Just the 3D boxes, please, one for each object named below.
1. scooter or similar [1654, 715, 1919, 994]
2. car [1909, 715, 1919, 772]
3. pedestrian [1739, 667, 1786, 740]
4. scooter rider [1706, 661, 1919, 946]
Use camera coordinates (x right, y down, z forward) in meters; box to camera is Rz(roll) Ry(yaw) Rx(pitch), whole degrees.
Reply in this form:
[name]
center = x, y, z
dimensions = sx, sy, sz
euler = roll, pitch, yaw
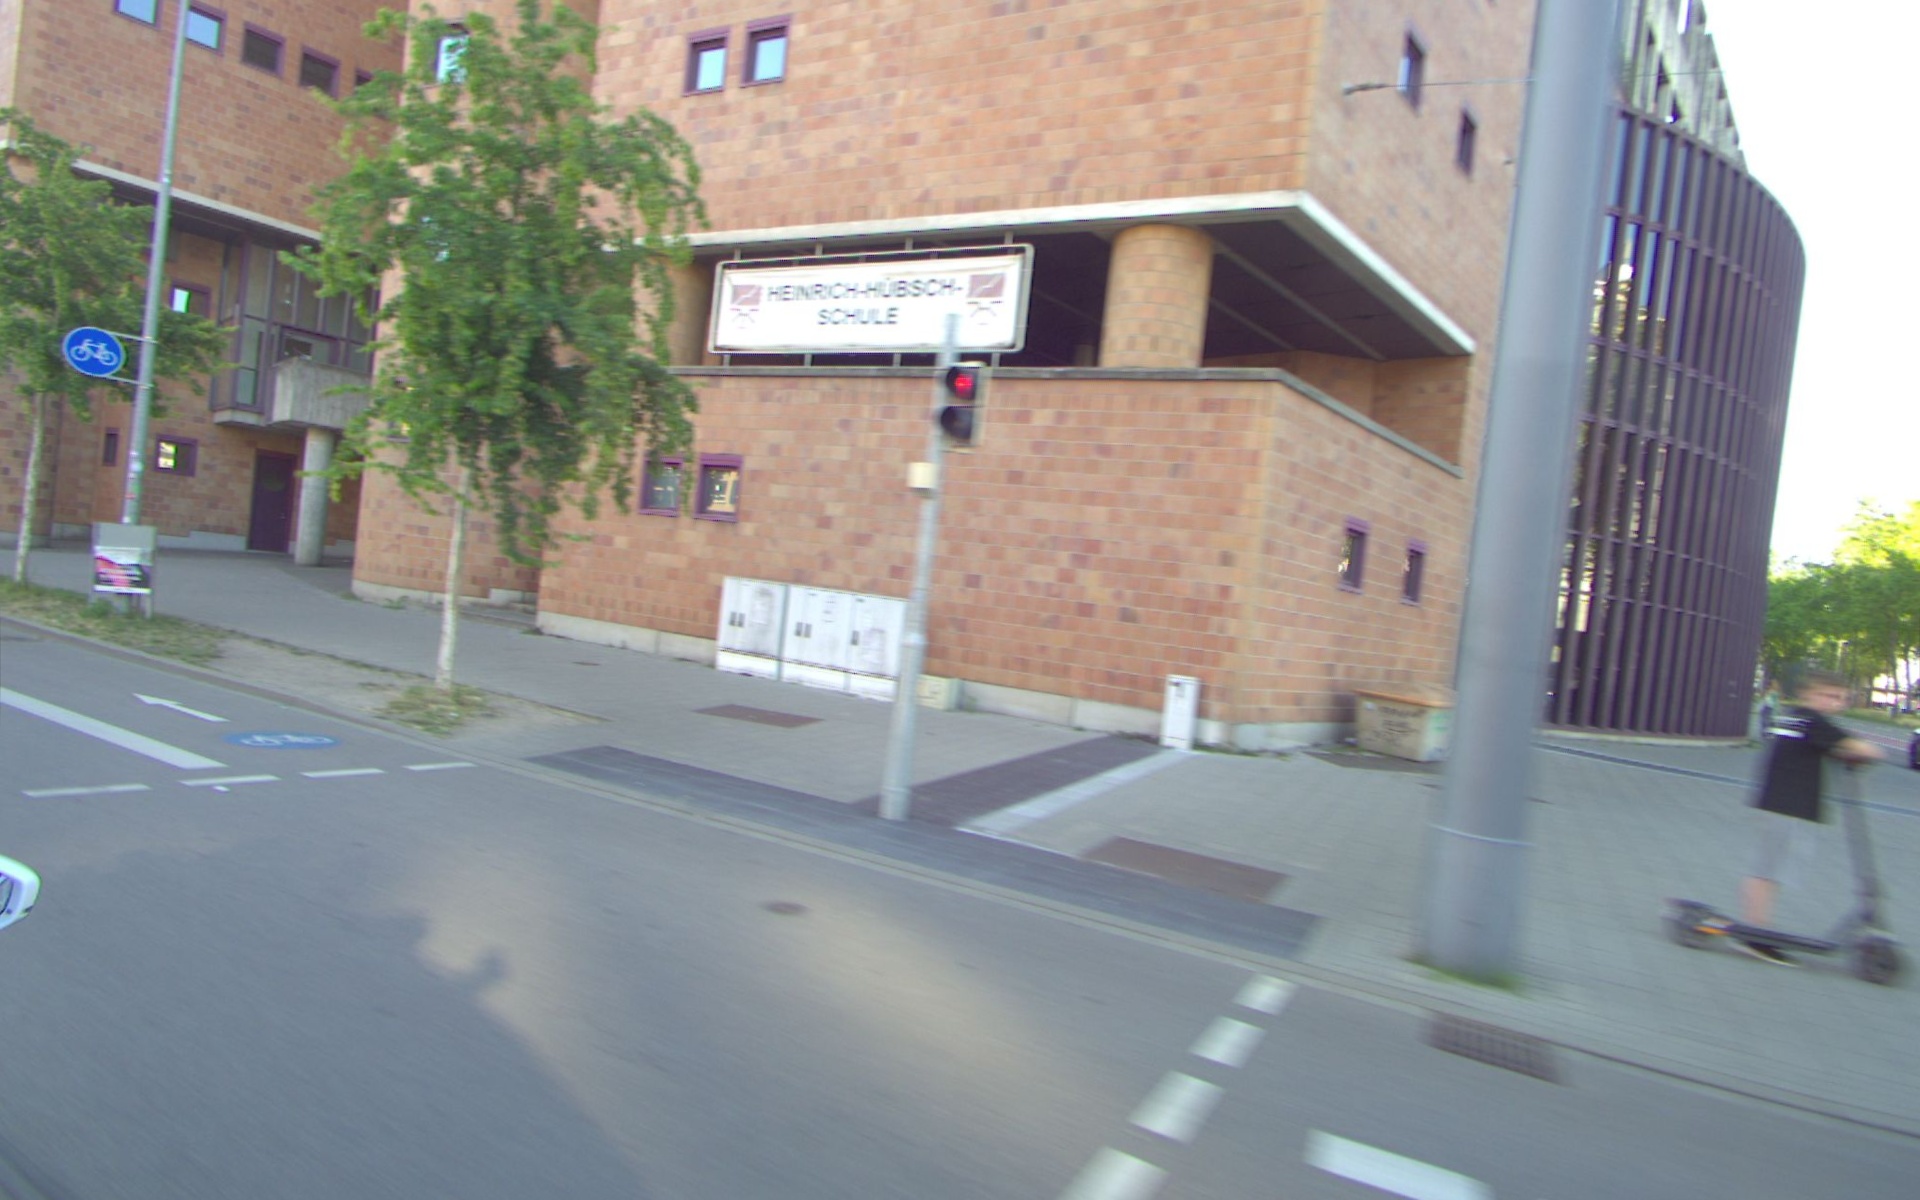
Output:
[scooter or similar]
center = 4.889, 1.438, 5.913
dimensions = 1.112, 1.335, 0.529
euler = 7, 1, 22
[car]
center = 24.559, 3.668, 24.159
dimensions = 1.892, 1.393, 3.987
euler = 7, 0, 35
[pedestrian]
center = 23.976, 3.077, 30.049
dimensions = 0.886, 2.039, 0.754
euler = 7, 2, 40
[scooter rider]
center = 4.963, 1.141, 5.888
dimensions = 0.709, 1.479, 0.507
euler = 7, 1, 23
